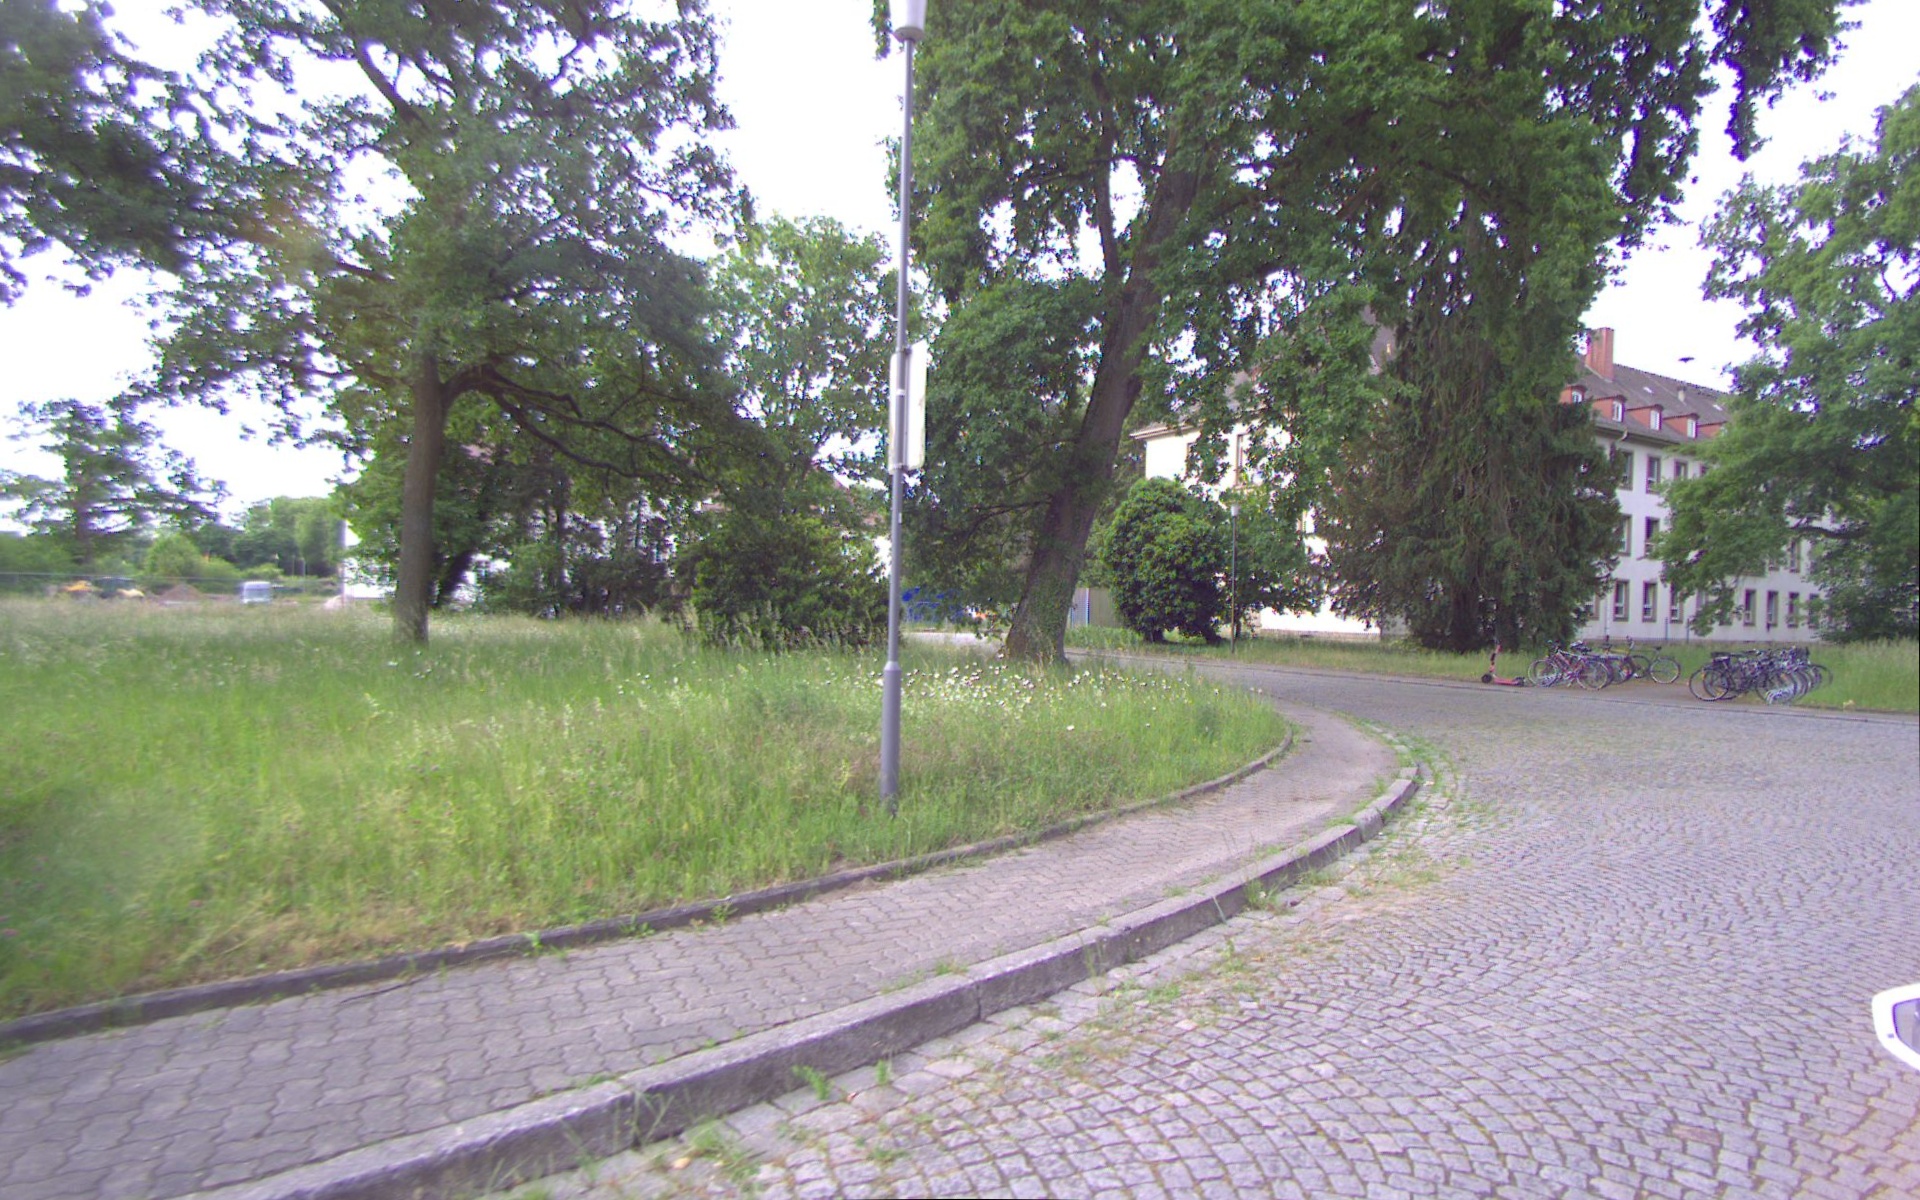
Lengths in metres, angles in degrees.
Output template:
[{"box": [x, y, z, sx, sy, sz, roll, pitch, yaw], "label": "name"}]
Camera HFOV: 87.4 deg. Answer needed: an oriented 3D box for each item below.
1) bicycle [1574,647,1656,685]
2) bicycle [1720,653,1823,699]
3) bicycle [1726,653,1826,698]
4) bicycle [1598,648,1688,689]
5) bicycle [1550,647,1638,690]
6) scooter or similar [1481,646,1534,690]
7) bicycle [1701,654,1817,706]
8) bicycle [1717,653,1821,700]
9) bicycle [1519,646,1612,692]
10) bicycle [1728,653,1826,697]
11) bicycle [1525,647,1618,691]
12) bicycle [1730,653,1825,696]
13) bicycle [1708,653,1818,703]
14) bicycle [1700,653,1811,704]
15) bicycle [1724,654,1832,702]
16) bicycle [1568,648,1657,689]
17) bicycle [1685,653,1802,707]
[{"box": [19.369, 1.940, 29.739, 1.937, 1.002, 0.623, 1, -1, 45], "label": "bicycle"}, {"box": [19.984, 1.861, 24.783, 1.933, 1.002, 0.624, 1, -1, 39], "label": "bicycle"}, {"box": [20.786, 1.905, 25.637, 1.933, 1.002, 0.624, 1, -1, 39], "label": "bicycle"}, {"box": [18.844, 1.884, 27.750, 0.622, 1.002, 1.942, 2, -1, -39], "label": "bicycle"}, {"box": [16.805, 1.794, 26.632, 1.931, 1.002, 0.625, 1, -1, 35], "label": "bicycle"}, {"box": [13.941, 1.720, 25.610, 0.445, 1.052, 1.351, 2, 0, -8], "label": "scooter or similar"}, {"box": [17.336, 1.714, 21.834, 1.933, 1.002, 0.624, 1, -1, 39], "label": "bicycle"}, {"box": [19.571, 1.839, 24.339, 1.933, 1.002, 0.624, 1, -1, 39], "label": "bicycle"}, {"box": [15.144, 1.709, 25.141, 1.931, 1.002, 0.625, 1, -1, 35], "label": "bicycle"}, {"box": [21.179, 1.927, 26.092, 1.933, 1.002, 0.624, 1, -1, 39], "label": "bicycle"}, {"box": [15.502, 1.728, 25.497, 1.934, 1.002, 0.624, 1, -1, 39], "label": "bicycle"}, {"box": [21.675, 1.955, 26.672, 1.933, 1.002, 0.624, 1, -1, 39], "label": "bicycle"}, {"box": [18.439, 1.776, 23.109, 1.933, 1.002, 0.624, 1, -1, 39], "label": "bicycle"}, {"box": [17.950, 1.753, 22.713, 1.933, 1.002, 0.624, 1, -1, 39], "label": "bicycle"}, {"box": [19.162, 1.810, 23.589, 1.933, 1.002, 0.624, 1, -1, 39], "label": "bicycle"}, {"box": [17.847, 1.846, 27.501, 0.622, 1.002, 1.942, 2, -1, -39], "label": "bicycle"}, {"box": [16.789, 1.691, 21.548, 1.935, 1.002, 0.624, 1, -1, 41], "label": "bicycle"}]
